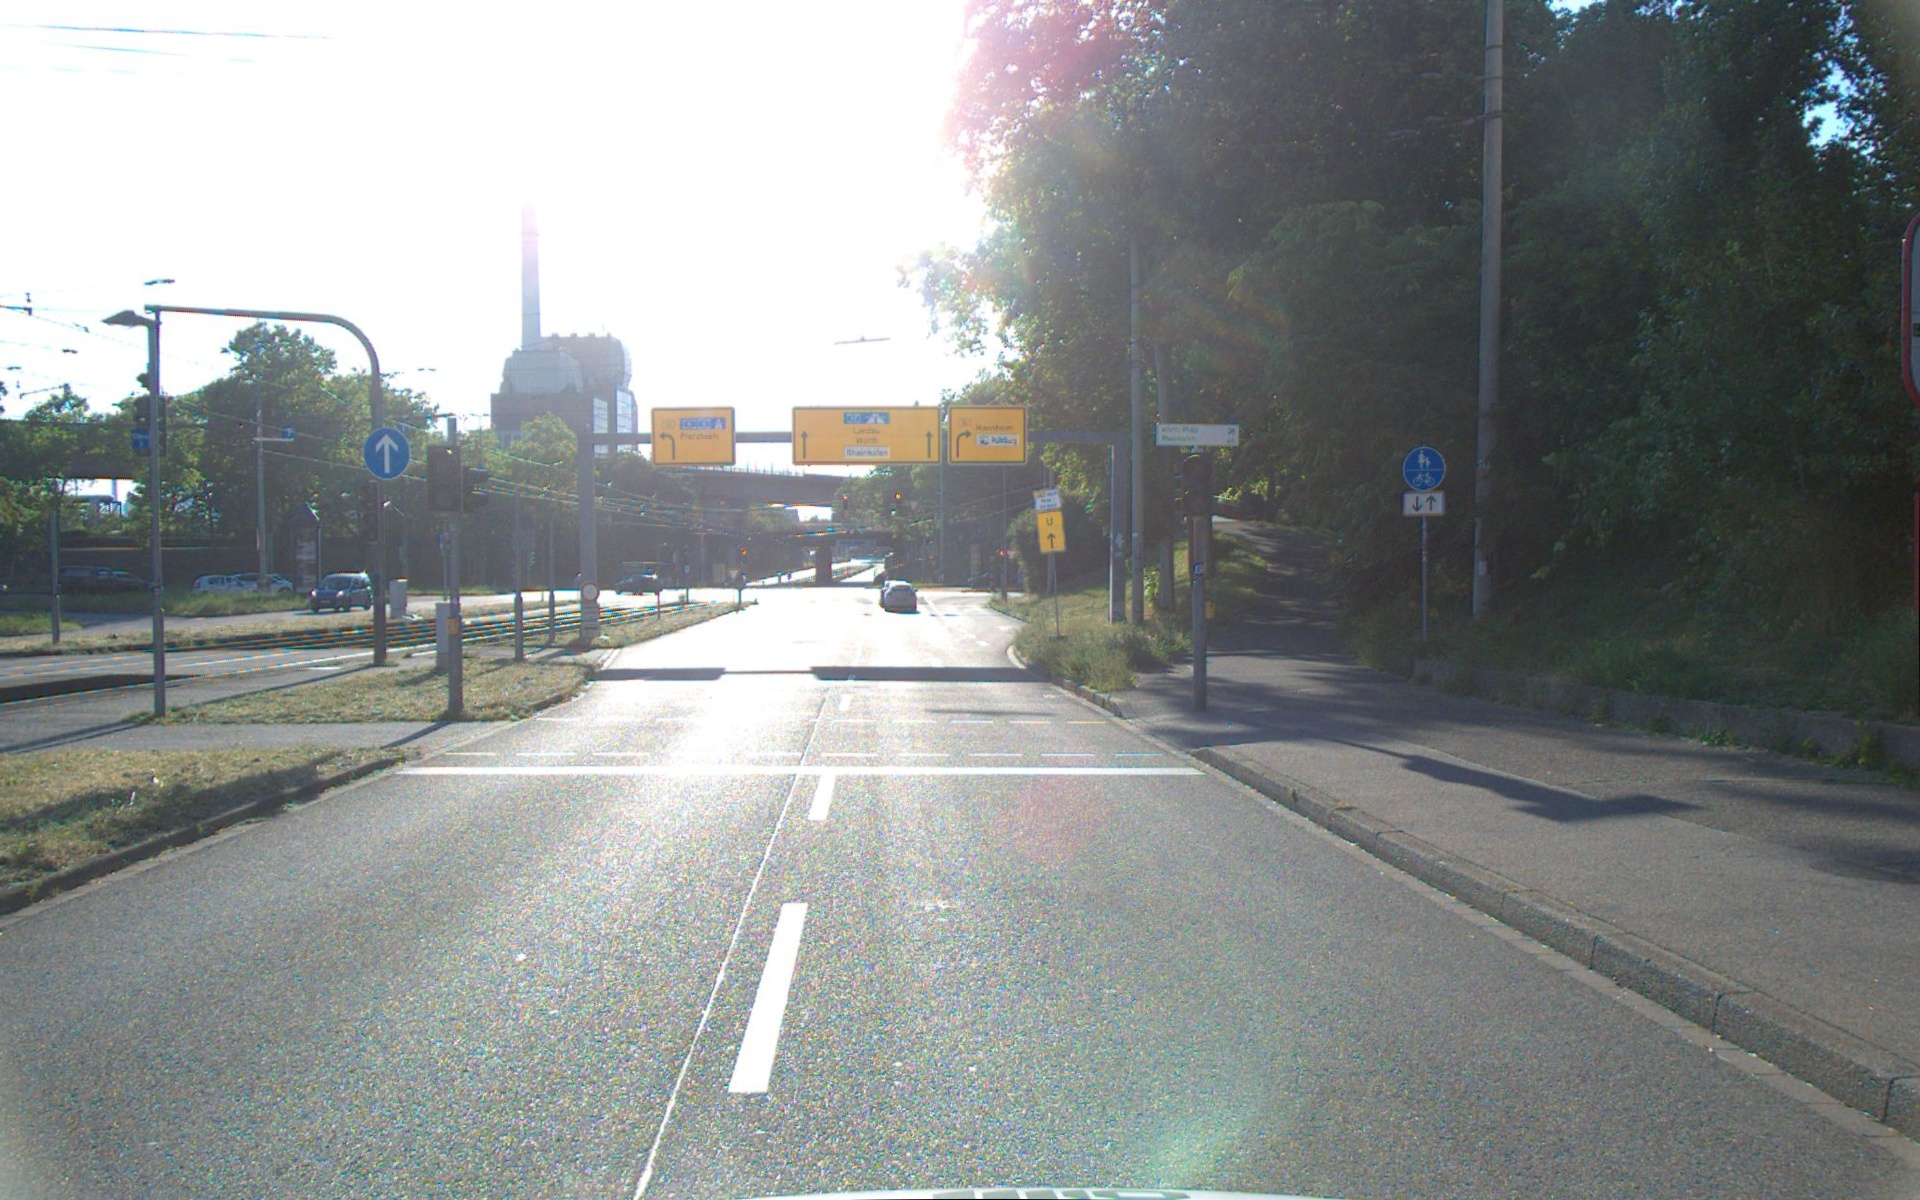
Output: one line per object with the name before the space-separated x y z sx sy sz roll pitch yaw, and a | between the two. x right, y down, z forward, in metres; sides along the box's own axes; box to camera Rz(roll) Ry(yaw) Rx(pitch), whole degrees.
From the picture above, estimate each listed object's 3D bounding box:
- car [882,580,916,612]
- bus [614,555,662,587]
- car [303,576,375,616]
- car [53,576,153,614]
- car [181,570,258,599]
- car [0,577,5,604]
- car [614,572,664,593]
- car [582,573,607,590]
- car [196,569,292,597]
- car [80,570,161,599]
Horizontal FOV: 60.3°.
car | -3.245 -0.234 87.119 1.702 1.531 3.998 -1 2 -4
bus | -34.455 -3.036 177.489 2.491 3.184 12.917 -1 0 0
car | -30.229 -0.202 80.651 1.894 1.818 4.259 0 2 0
car | -47.854 -0.292 92.389 4.881 2.025 2.015 0 1 -33
car | -42.878 -0.909 95.778 3.943 1.602 1.678 0 1 -29
car | -55.883 -0.554 92.227 4.565 1.484 1.675 0 2 -32
car | -23.796 -1.297 122.569 3.930 1.531 1.731 1 2 43
car | -33.047 -1.684 149.637 1.575 1.538 4.005 1 1 -4
car | -43.082 -1.031 99.527 5.284 1.602 1.726 0 1 -26
car | -48.888 -0.916 96.326 4.190 1.602 1.677 0 1 -30
